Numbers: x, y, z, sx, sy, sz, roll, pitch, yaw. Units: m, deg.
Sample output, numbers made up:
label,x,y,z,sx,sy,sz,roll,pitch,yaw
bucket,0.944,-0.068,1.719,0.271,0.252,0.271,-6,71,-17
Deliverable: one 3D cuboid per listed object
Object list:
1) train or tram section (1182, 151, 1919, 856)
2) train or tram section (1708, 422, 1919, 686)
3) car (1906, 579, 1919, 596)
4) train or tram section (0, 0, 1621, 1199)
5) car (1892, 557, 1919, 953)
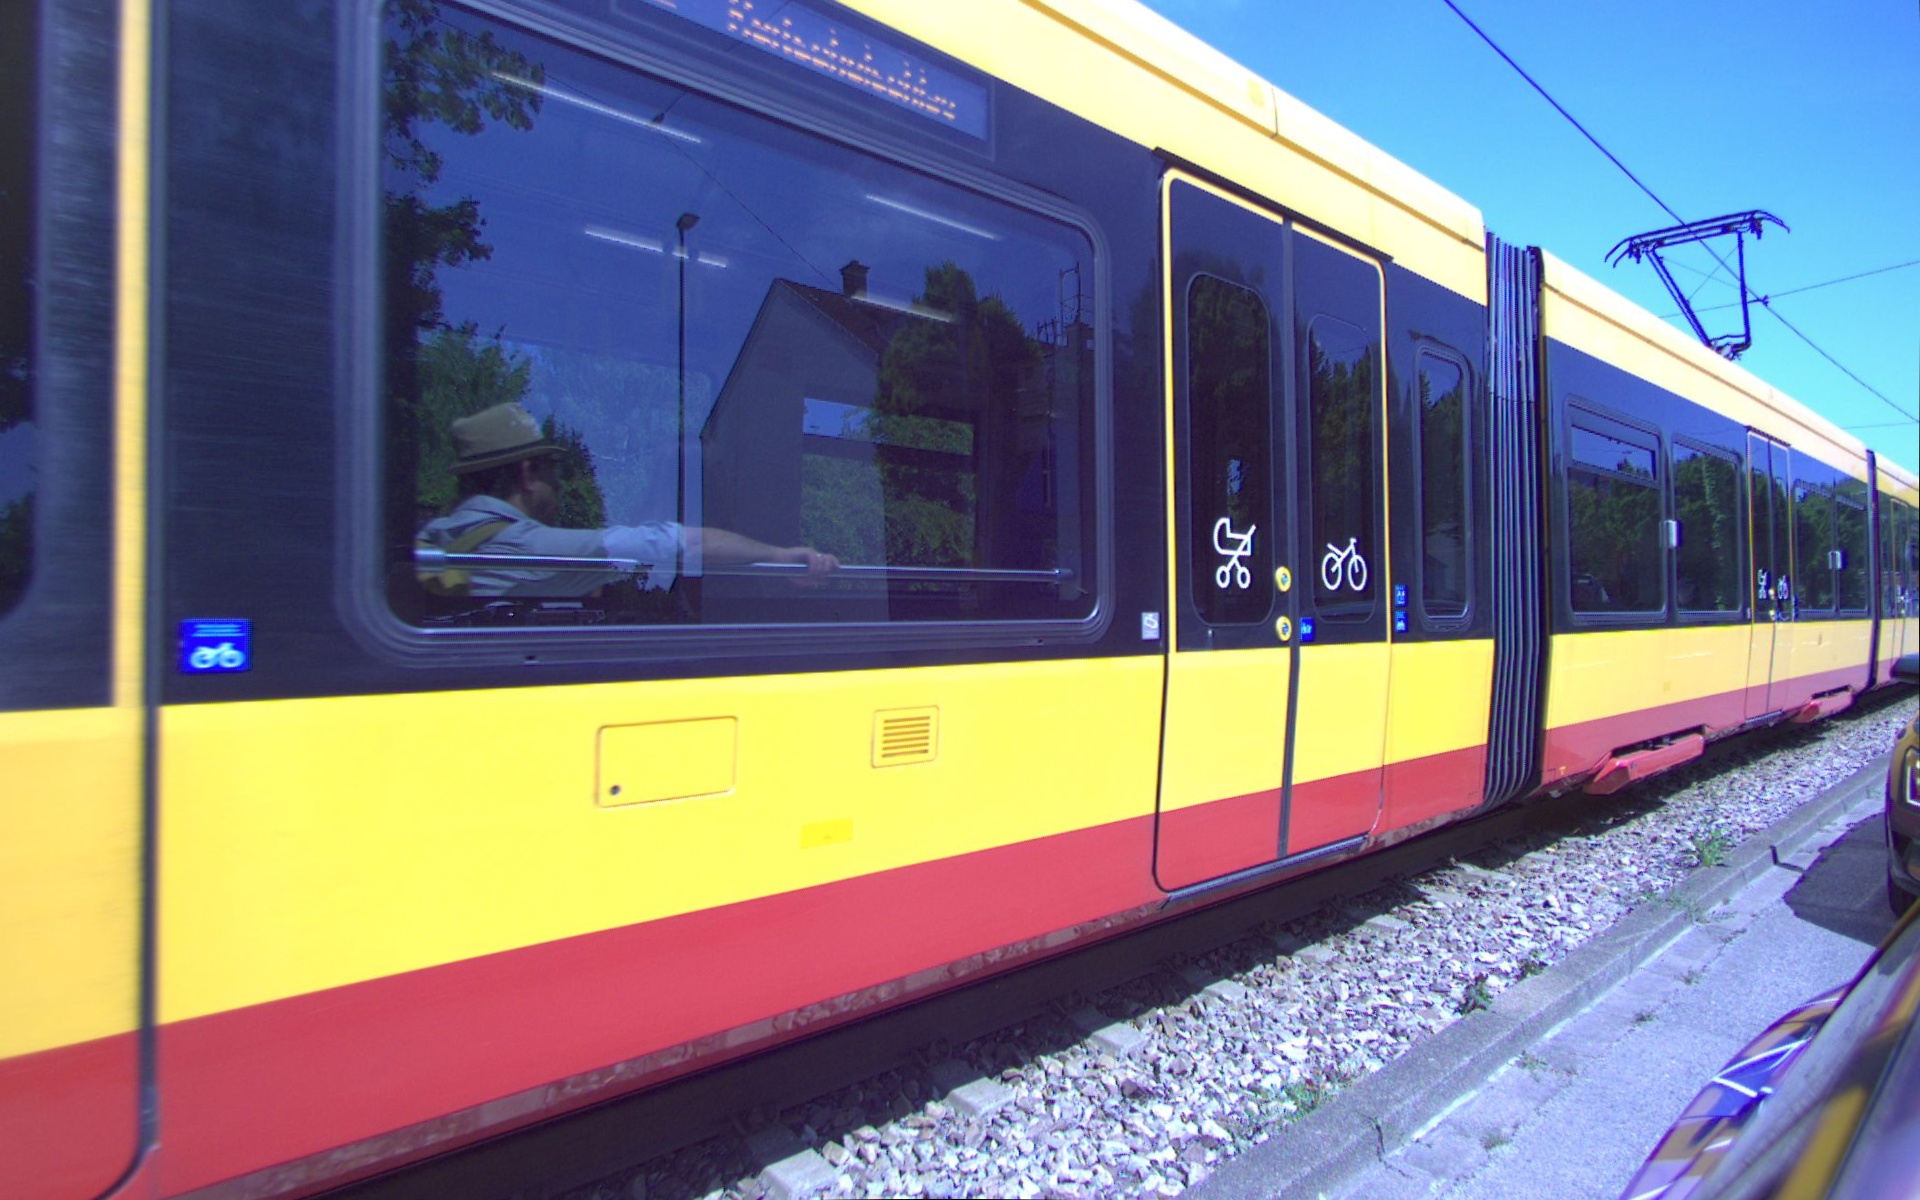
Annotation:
label,x,y,z,sx,sy,sz,roll,pitch,yaw
train or tram section,7.922,-0.607,11.144,14.010,3.859,2.782,-1,0,-40
train or tram section,18.620,-0.746,20.201,14.010,3.855,2.782,-1,0,-40
car,88.043,-1.120,92.615,3.412,1.514,1.863,0,2,-43
train or tram section,-2.435,0.156,2.238,14.013,3.855,2.811,-1,0,-41
car,6.044,0.629,4.920,4.349,1.603,1.757,0,0,-41
